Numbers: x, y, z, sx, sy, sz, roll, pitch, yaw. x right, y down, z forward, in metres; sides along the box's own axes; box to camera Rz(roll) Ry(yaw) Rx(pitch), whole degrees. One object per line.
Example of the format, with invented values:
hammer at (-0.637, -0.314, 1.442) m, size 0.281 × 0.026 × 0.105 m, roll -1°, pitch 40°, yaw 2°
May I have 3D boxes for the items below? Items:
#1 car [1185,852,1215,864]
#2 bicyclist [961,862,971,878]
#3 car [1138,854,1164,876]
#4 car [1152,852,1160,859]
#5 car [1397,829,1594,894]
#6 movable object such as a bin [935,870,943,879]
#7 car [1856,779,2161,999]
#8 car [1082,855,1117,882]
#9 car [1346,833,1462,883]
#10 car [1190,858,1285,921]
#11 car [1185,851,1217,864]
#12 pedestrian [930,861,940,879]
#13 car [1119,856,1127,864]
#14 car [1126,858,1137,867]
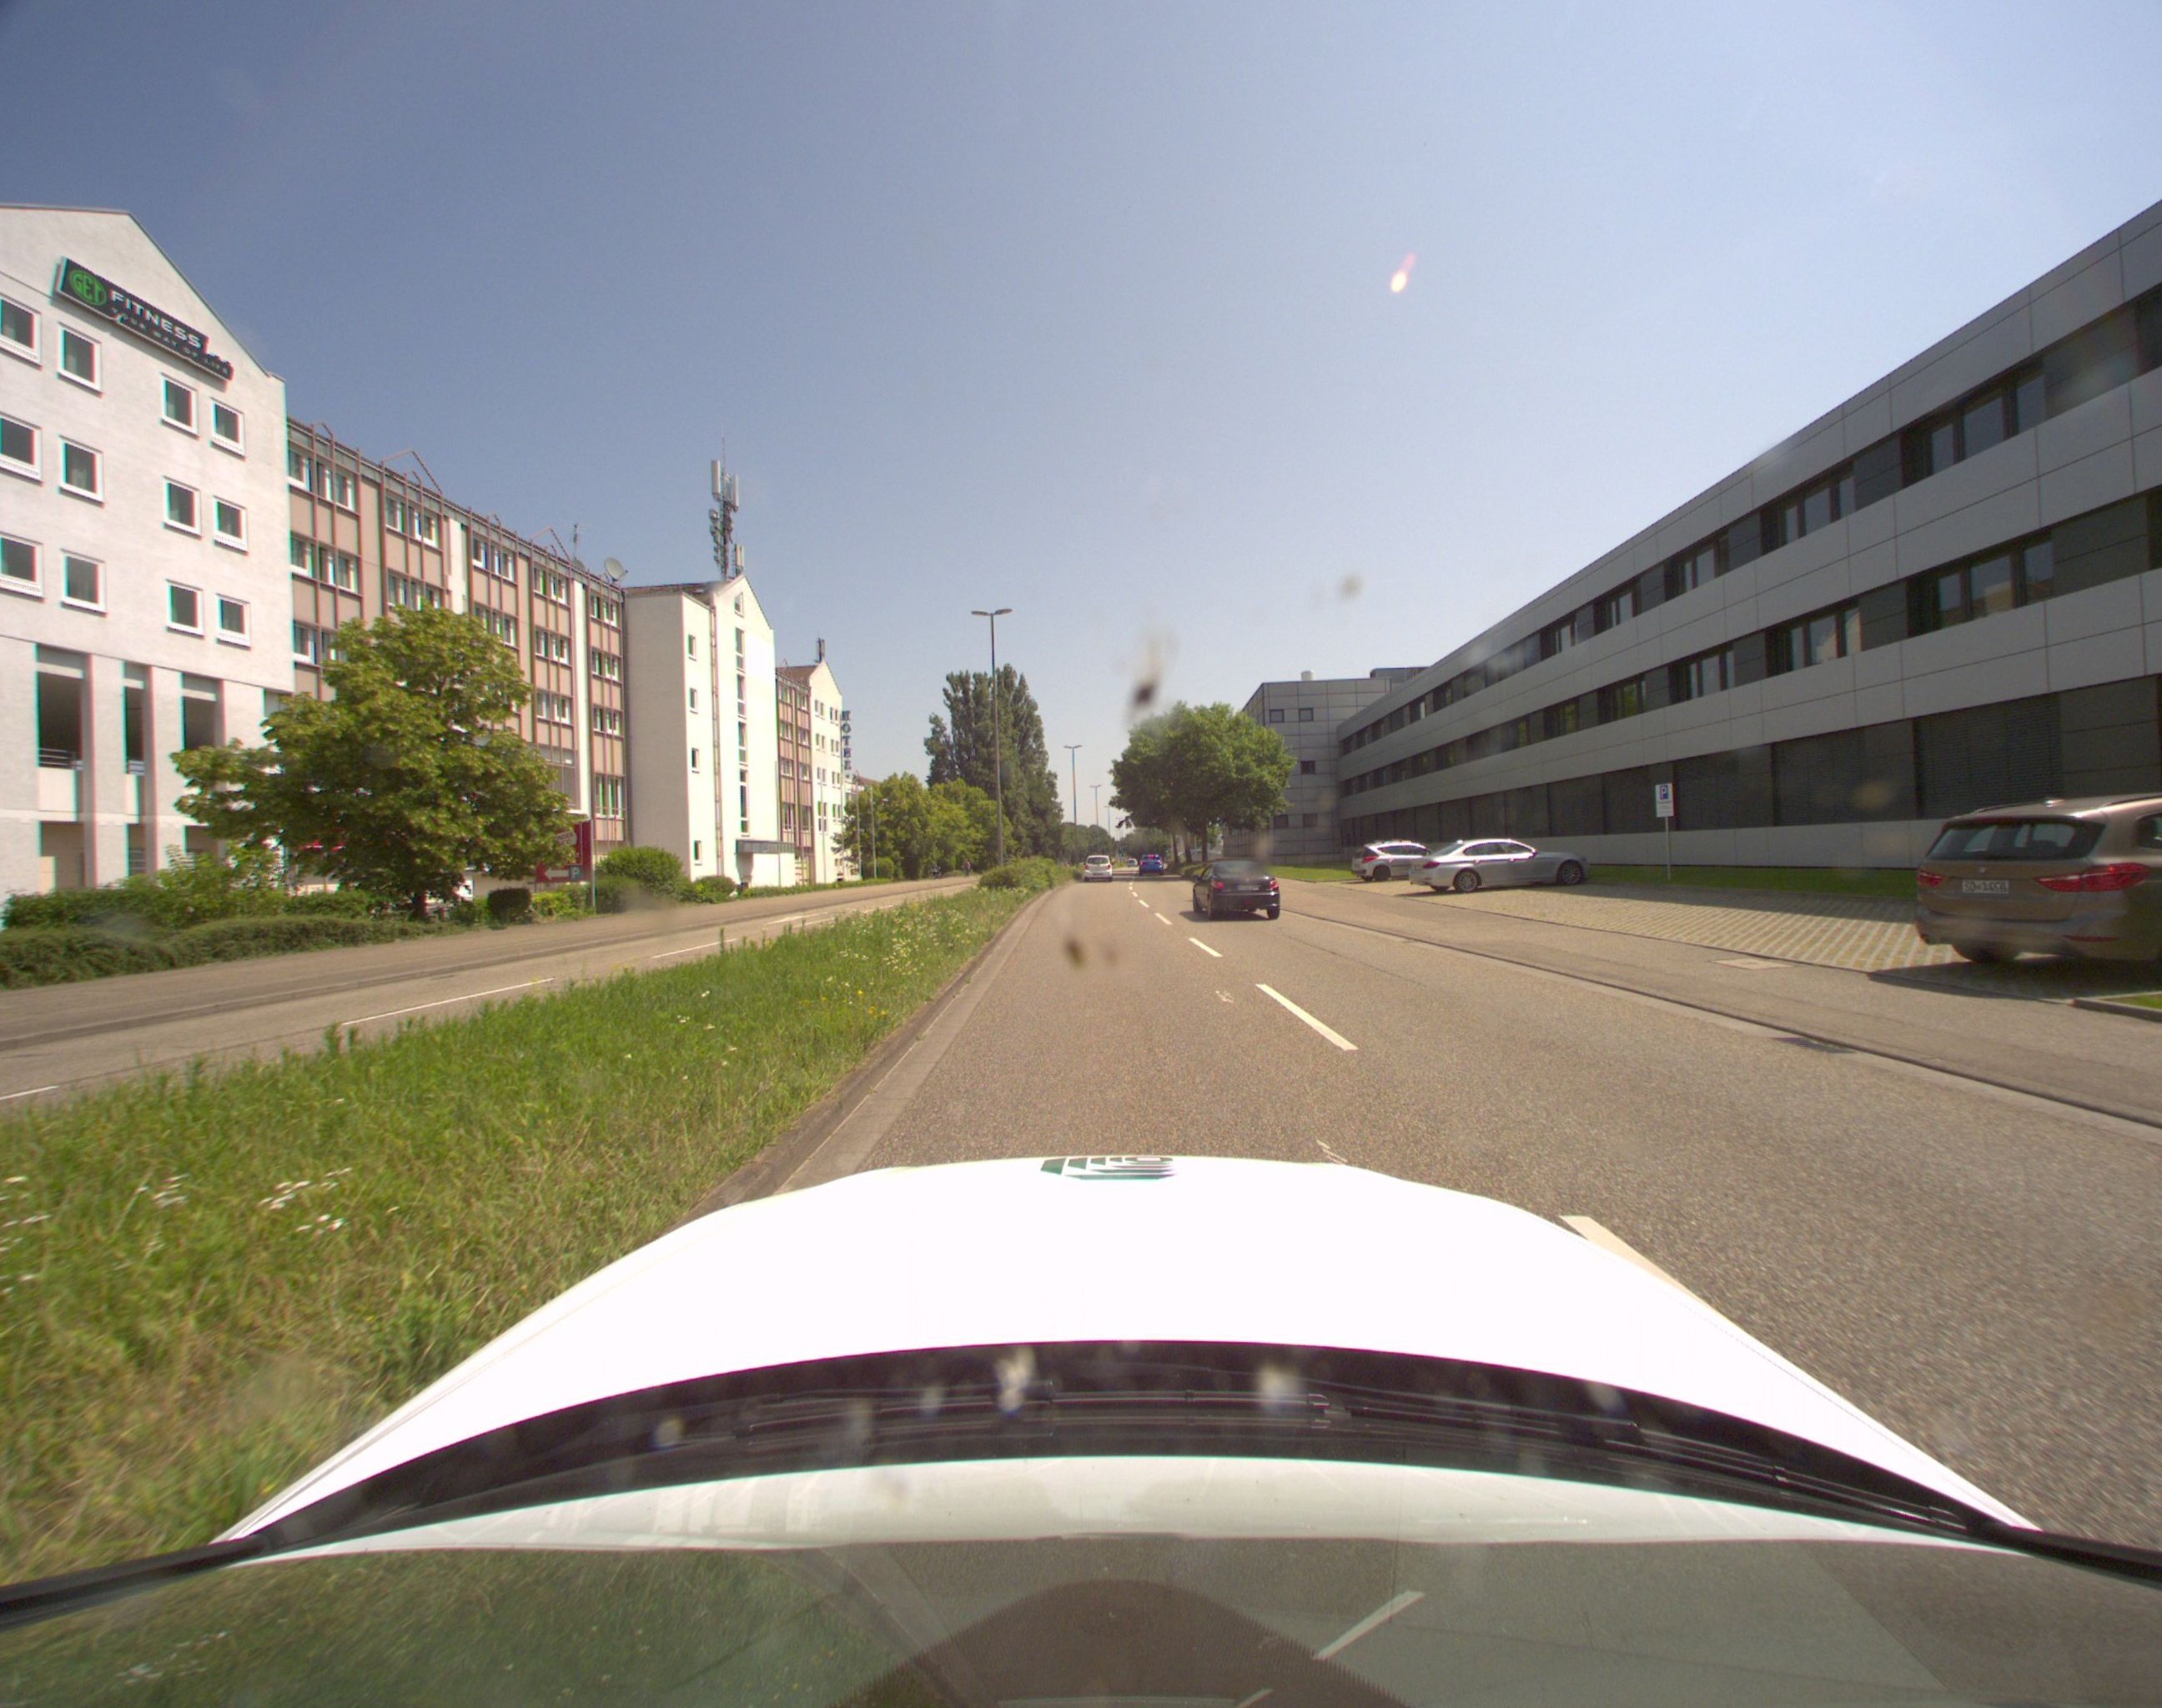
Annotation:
car at (17.106, 0.543, 116.775) m, size 3.974 × 1.618 × 2.000 m, roll -2°, pitch -1°, yaw 0°
bicyclist at (-10.678, 1.493, 75.700) m, size 0.715 × 1.516 × 1.026 m, roll -2°, pitch -1°, yaw 0°
car at (5.296, 0.796, 61.227) m, size 1.819 × 1.580 × 3.610 m, roll -2°, pitch 0°, yaw 5°
car at (21.408, 0.378, 231.947) m, size 1.764 × 2.013 × 3.991 m, roll -3°, pitch 0°, yaw 1°
car at (11.826, 0.202, 23.458) m, size 4.600 × 1.390 × 1.999 m, roll -5°, pitch 0°, yaw -1°
movable object such as a bin at (-12.132, 1.768, 69.567) m, size 0.425 × 0.705 × 0.654 m, roll -3°, pitch -1°, yaw 12°
car at (10.401, 0.145, 7.662) m, size 4.246 × 1.689 × 1.999 m, roll -5°, pitch 0°, yaw -1°
car at (1.114, 0.809, 48.002) m, size 1.740 × 1.520 × 3.751 m, roll -1°, pitch 0°, yaw 5°
car at (12.675, 0.165, 32.085) m, size 3.801 × 1.592 × 1.732 m, roll -5°, pitch -1°, yaw -1°
car at (3.777, 0.816, 20.198) m, size 1.622 × 1.364 × 3.604 m, roll -1°, pitch 0°, yaw -1°
car at (17.815, 0.550, 120.893) m, size 4.480 × 1.583 × 2.001 m, roll -3°, pitch -1°, yaw 3°
pedestrian at (-12.497, 1.376, 69.932) m, size 0.630 × 1.545 × 0.728 m, roll -3°, pitch -1°, yaw 3°
car at (9.933, 1.434, 193.117) m, size 1.814 × 1.662 × 3.999 m, roll -2°, pitch 0°, yaw 0°
car at (9.504, 1.576, 153.352) m, size 1.812 × 1.662 × 4.003 m, roll -2°, pitch 0°, yaw 3°
